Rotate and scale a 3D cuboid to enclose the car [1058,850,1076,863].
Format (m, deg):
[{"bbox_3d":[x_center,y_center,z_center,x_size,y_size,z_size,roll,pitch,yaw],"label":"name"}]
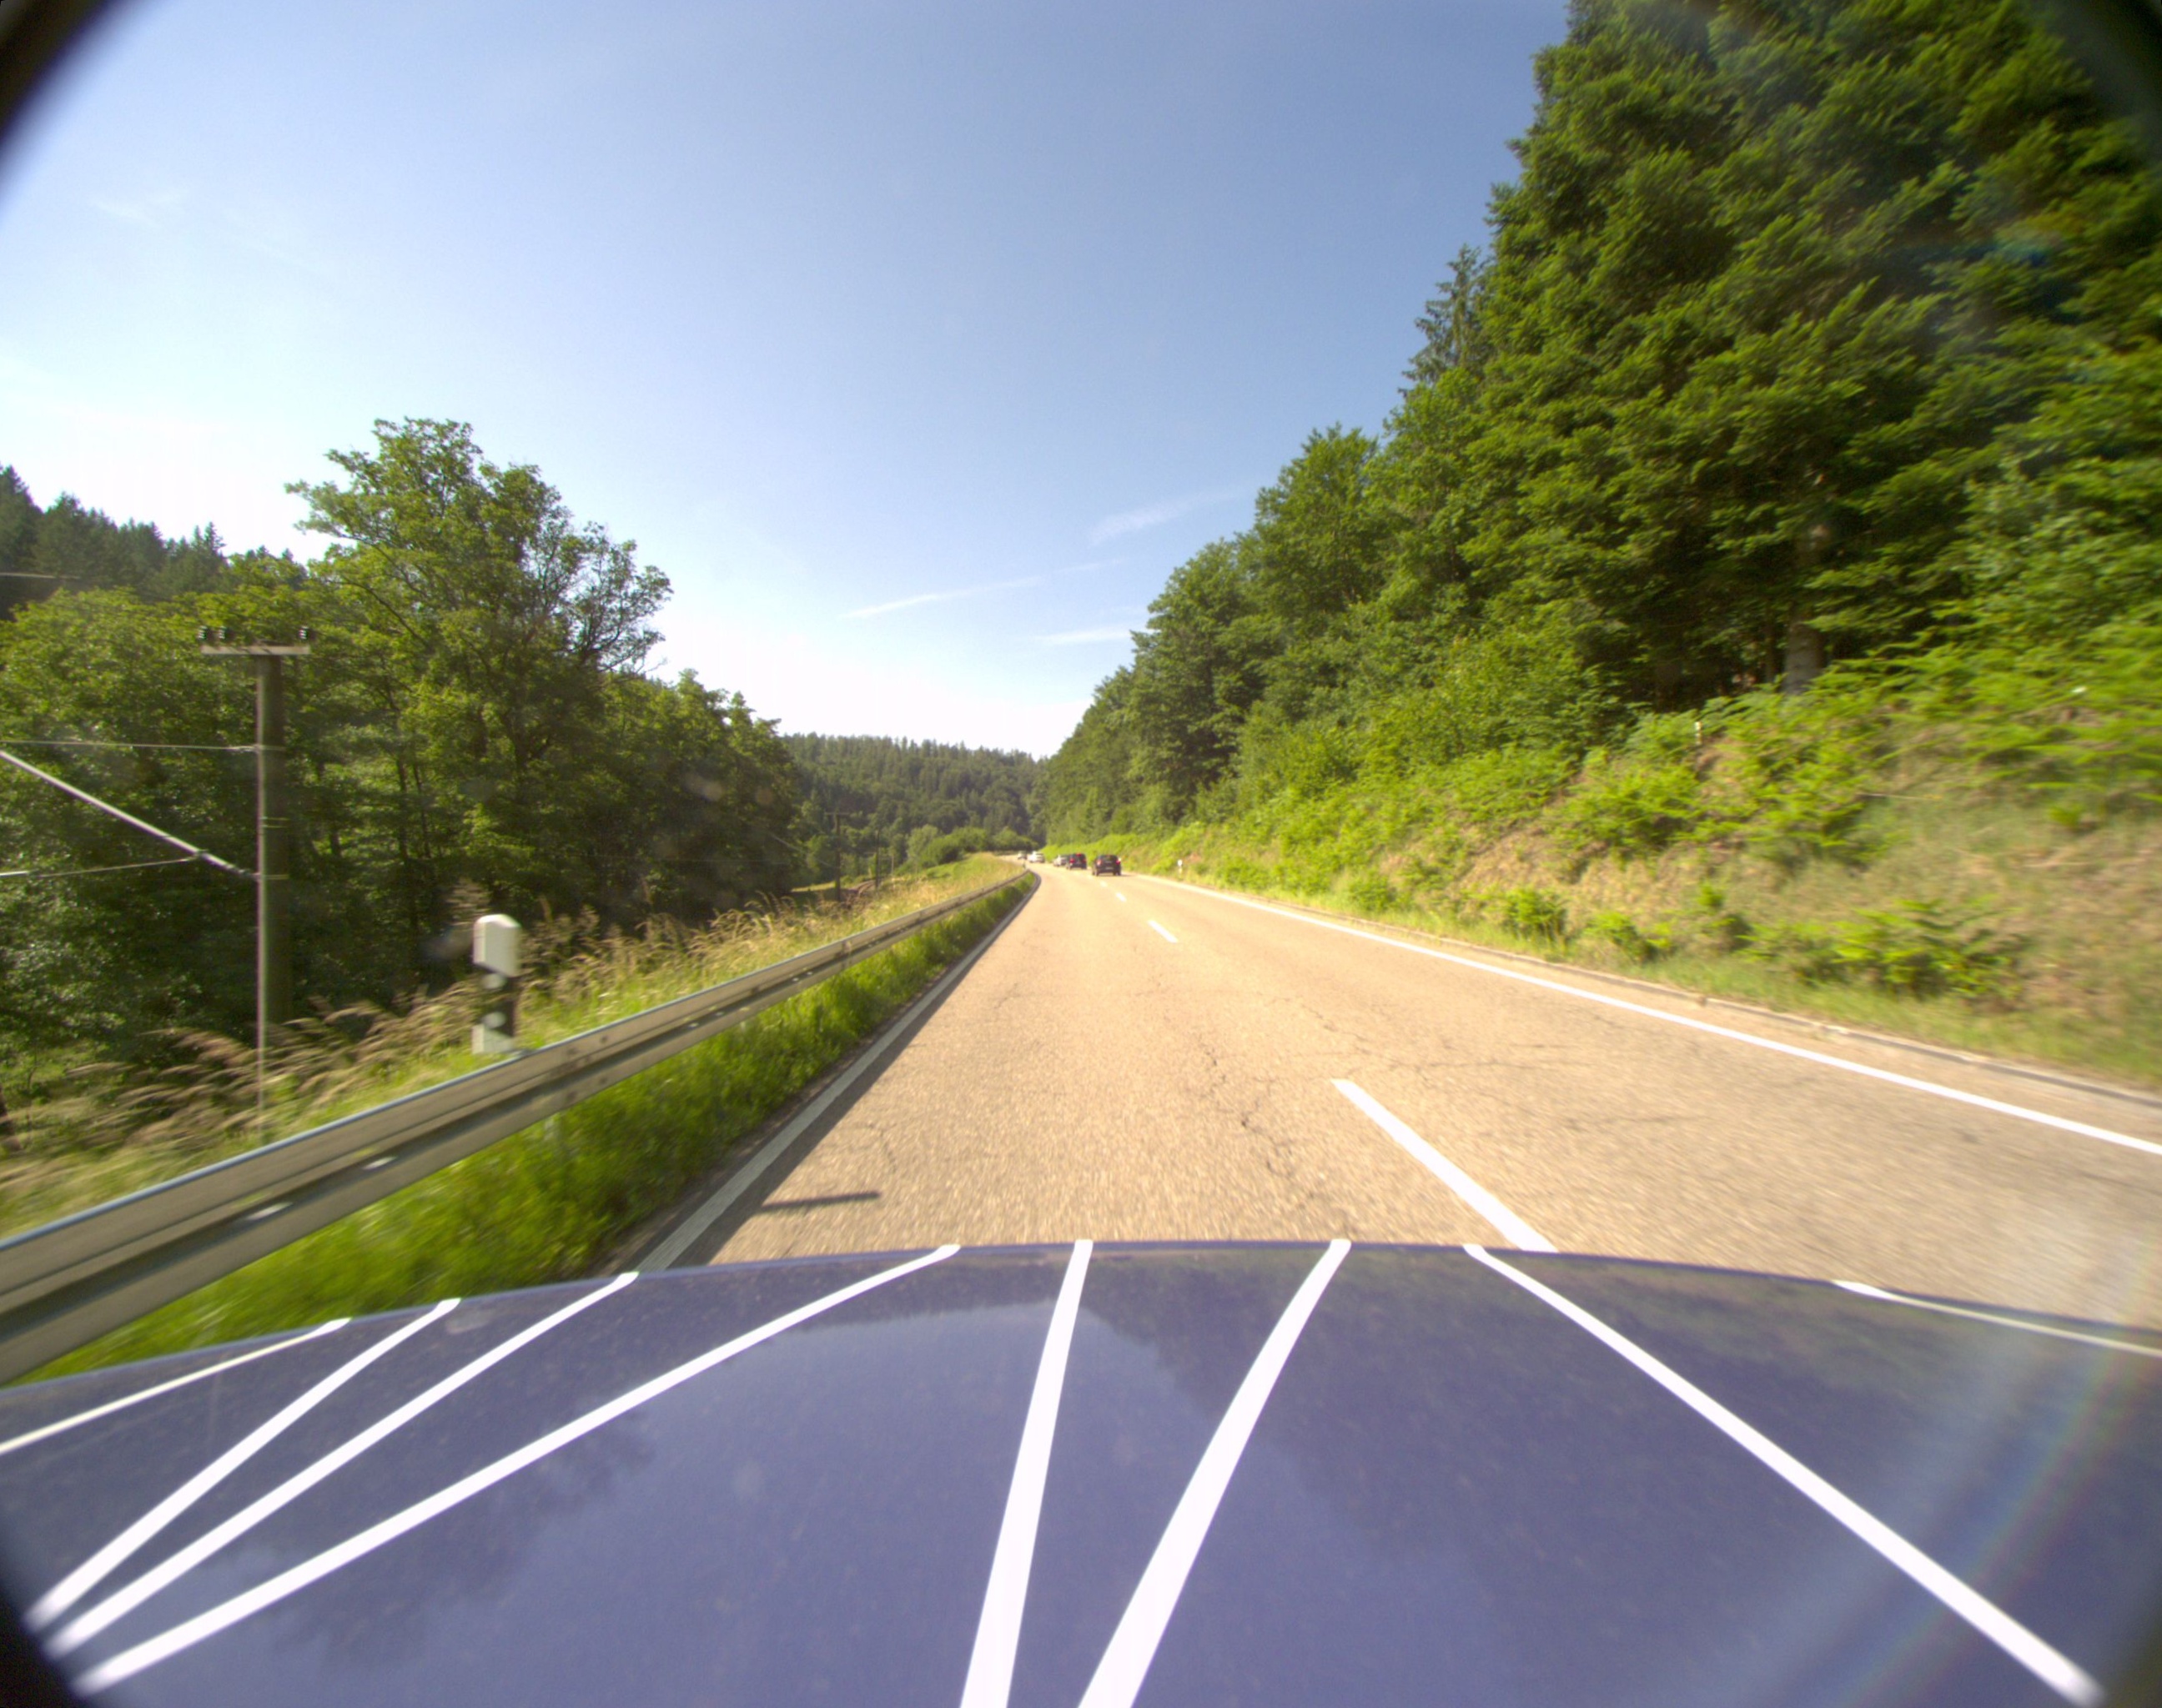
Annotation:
[{"bbox_3d":[-1.657,0.293,88.351,1.838,1.422,4.676,-1,0,-4],"label":"car"}]

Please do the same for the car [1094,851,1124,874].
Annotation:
[{"bbox_3d":[1.979,0.563,53.925,1.862,1.520,3.999,0,1,-2],"label":"car"}]

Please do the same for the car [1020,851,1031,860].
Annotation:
[{"bbox_3d":[-10.792,0.322,146.828,1.874,1.614,4.470,-1,0,-8],"label":"car"}]

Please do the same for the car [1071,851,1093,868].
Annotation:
[{"bbox_3d":[0.043,0.511,74.676,1.838,1.619,4.350,-1,0,-4],"label":"car"}]

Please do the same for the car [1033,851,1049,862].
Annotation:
[{"bbox_3d":[-6.042,0.390,114.528,2.000,1.673,4.903,-1,0,-6],"label":"car"}]
